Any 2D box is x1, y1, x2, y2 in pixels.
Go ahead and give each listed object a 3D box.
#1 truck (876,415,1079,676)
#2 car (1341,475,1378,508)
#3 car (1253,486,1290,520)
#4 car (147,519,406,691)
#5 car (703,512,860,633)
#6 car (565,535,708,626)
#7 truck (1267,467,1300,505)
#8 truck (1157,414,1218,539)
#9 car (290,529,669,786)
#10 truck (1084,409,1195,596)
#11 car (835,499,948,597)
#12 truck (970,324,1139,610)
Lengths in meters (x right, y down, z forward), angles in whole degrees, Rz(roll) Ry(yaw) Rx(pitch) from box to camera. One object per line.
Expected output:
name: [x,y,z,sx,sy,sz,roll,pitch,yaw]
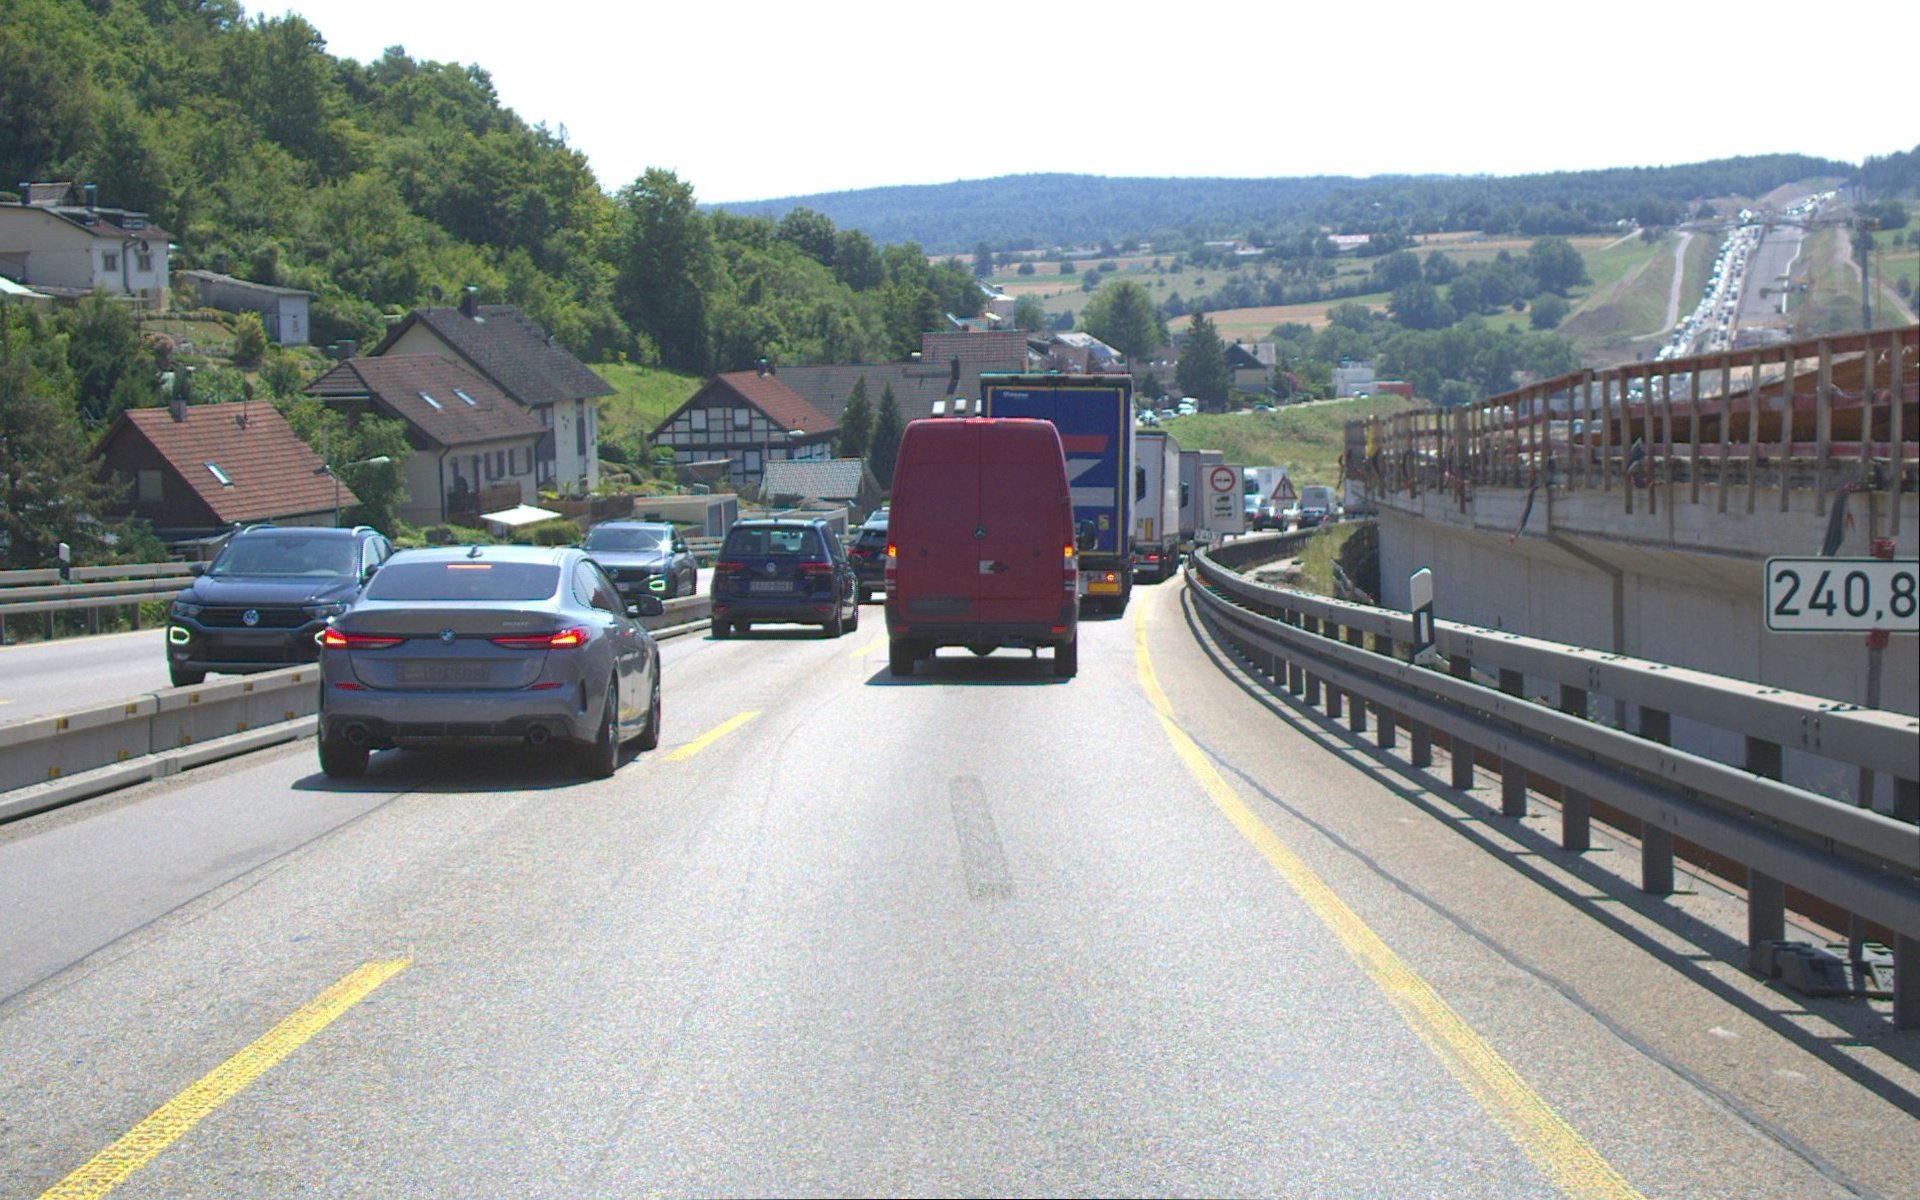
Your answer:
truck: [0.227,-0.565,36.310,1.993,2.570,4.000,1,1,2]
car: [26.380,-7.148,226.878,2.132,2.007,3.998,1,1,10]
car: [18.918,-5.903,208.566,1.804,2.006,3.998,2,2,10]
car: [-6.541,0.023,33.272,1.729,1.546,4.036,1,1,-1]
car: [-2.466,-0.387,48.250,1.810,1.602,3.719,1,1,3]
car: [-5.602,-0.371,60.047,1.912,1.481,4.477,1,1,2]
truck: [13.798,-4.864,146.587,1.314,1.537,3.151,1,1,6]
truck: [8.215,-4.409,123.855,1.994,4.366,3.999,1,0,6]
car: [-2.970,0.293,22.039,1.795,1.480,4.050,0,1,1]
truck: [4.824,-2.556,93.434,2.786,4.799,9.684,1,1,2]
car: [-1.300,-1.000,67.034,1.729,1.832,3.999,1,1,5]
truck: [1.795,-2.292,62.836,2.786,4.799,9.684,1,1,2]
